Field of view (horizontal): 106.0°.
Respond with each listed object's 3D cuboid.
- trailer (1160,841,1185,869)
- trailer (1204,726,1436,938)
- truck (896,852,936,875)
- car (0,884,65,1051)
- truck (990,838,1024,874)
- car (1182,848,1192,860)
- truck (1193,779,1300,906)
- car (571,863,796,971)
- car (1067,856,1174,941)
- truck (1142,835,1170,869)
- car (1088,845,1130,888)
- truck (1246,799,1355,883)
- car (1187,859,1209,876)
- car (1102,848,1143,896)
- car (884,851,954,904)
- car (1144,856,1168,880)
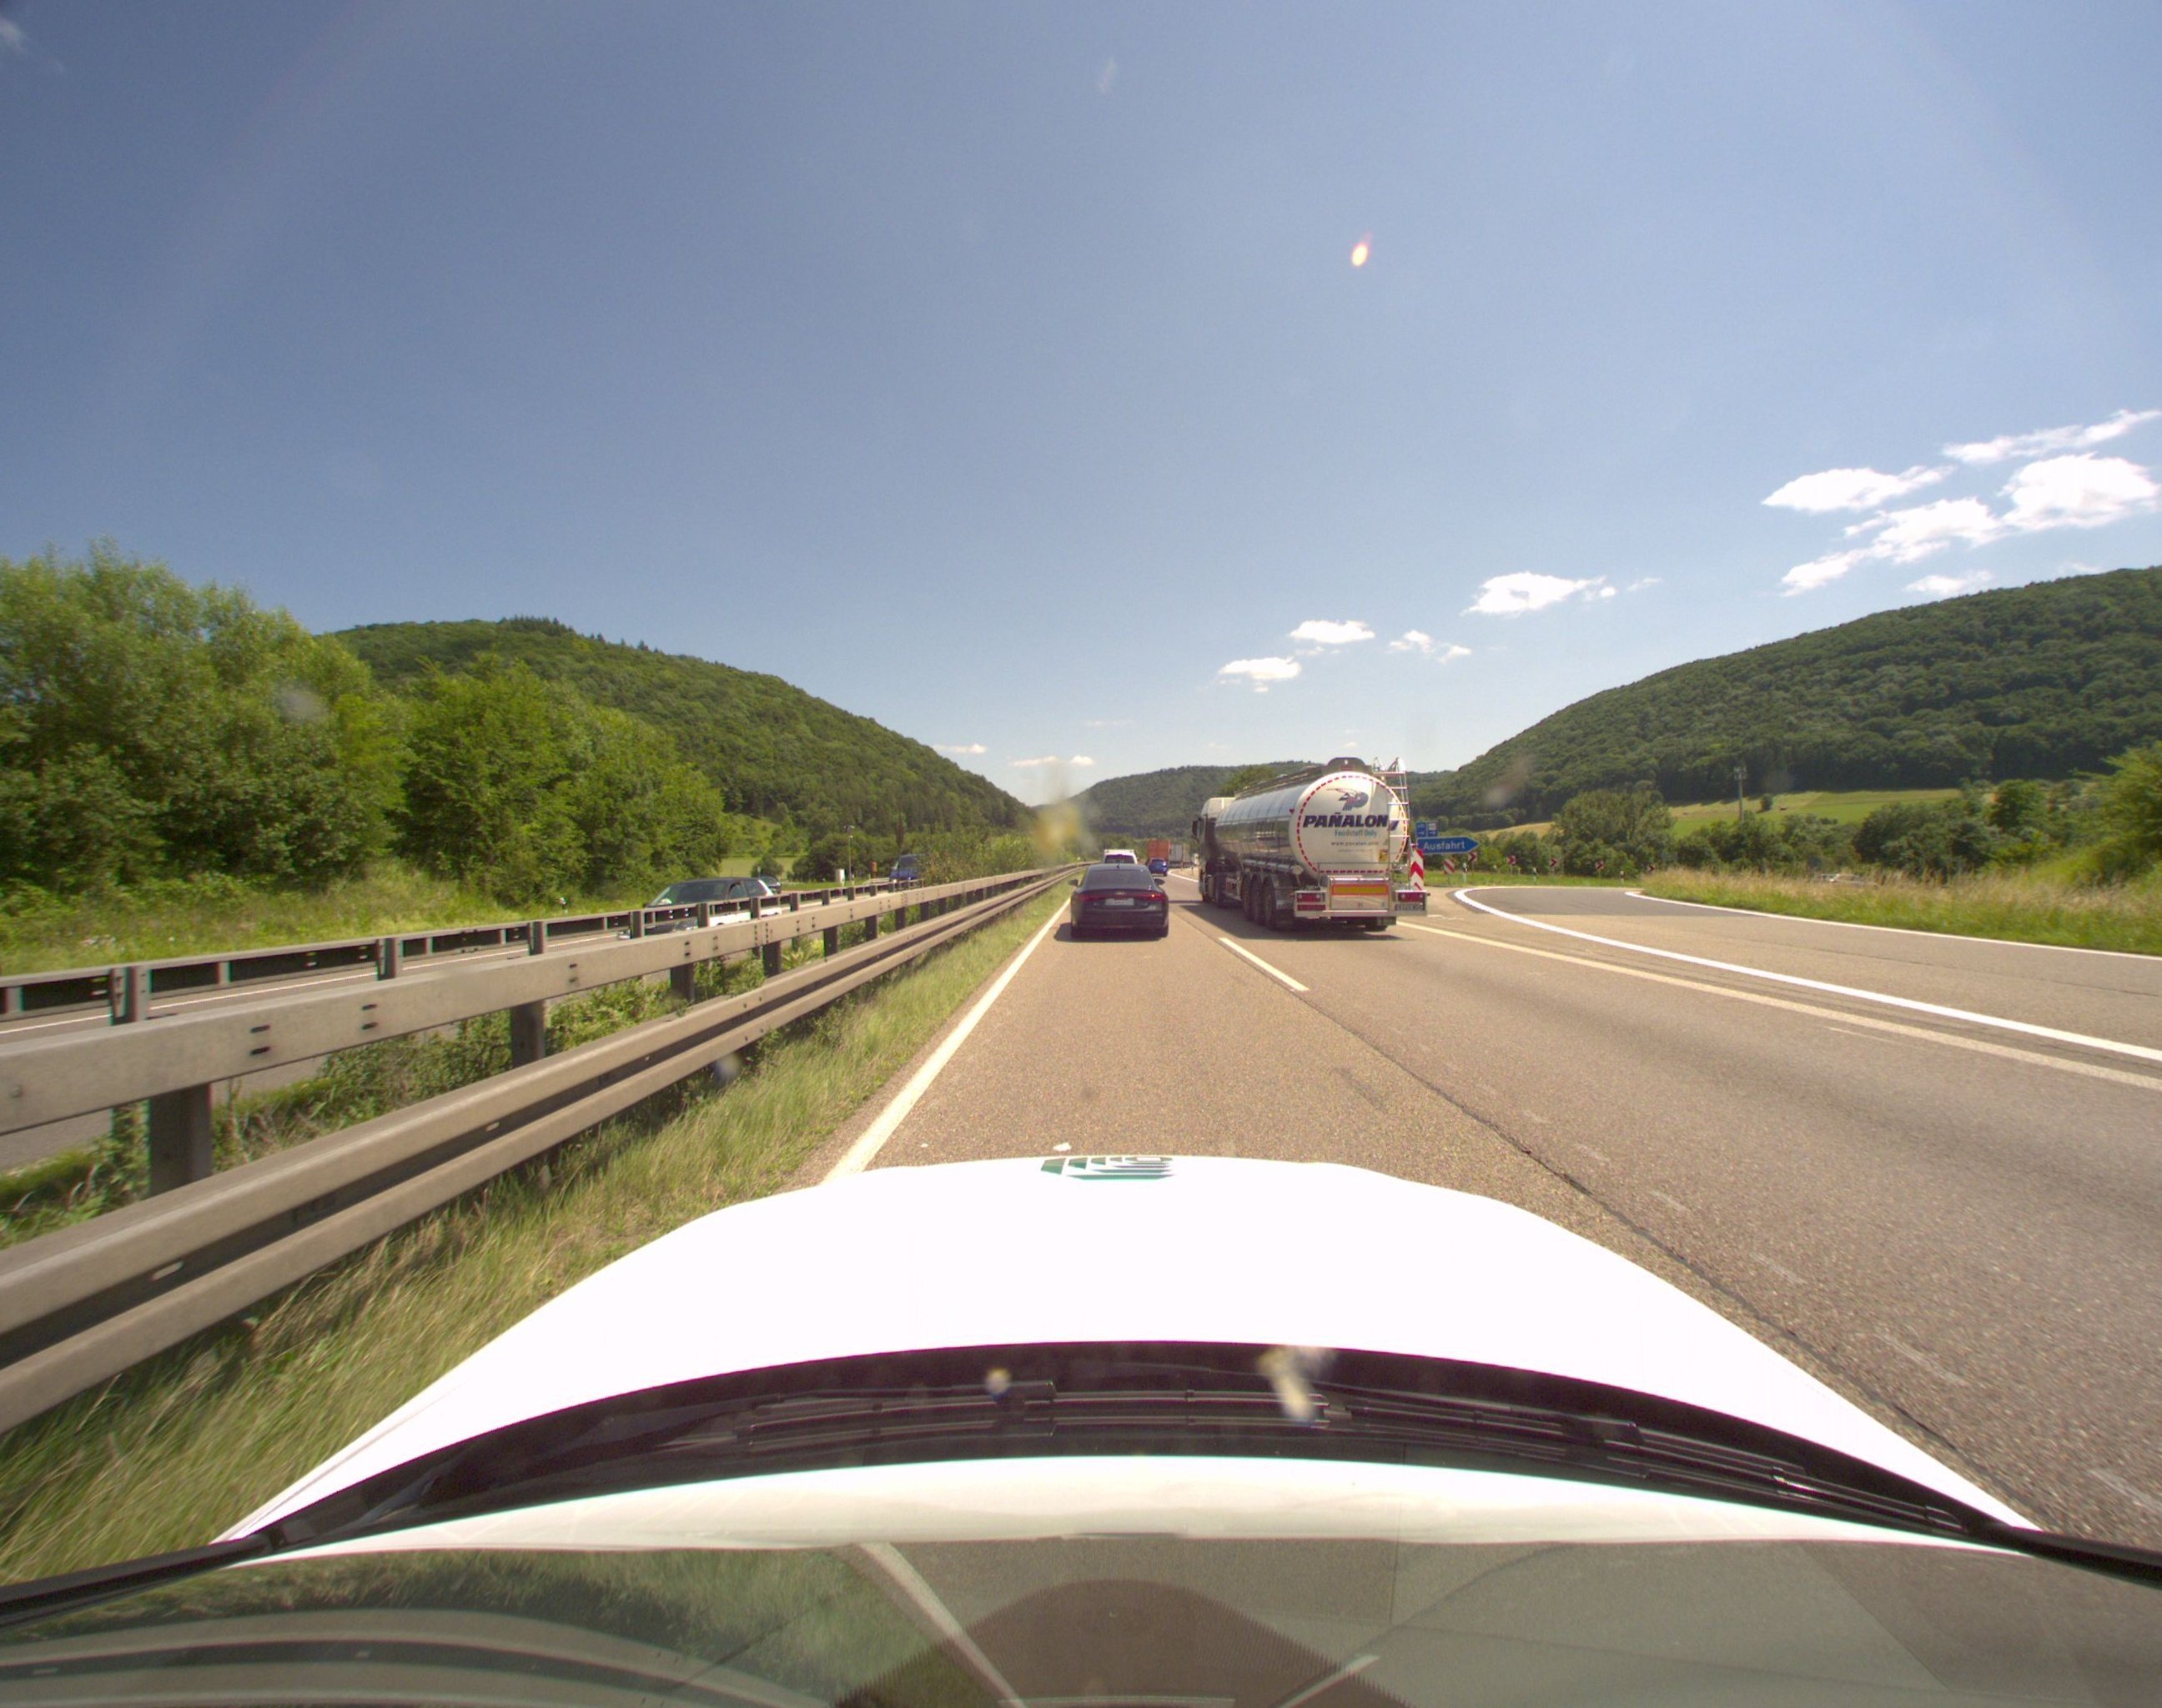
[{"bbox_3d":[14.901,0.198,133.524,3.004,4.382,10.988,-2,0,1],"label":"trailer"},{"bbox_3d":[5.183,-0.368,20.571,2.529,3.735,11.894,-2,0,1],"label":"trailer"},{"bbox_3d":[-21.536,1.208,106.846,3.570,2.695,8.445,-2,-1,-1],"label":"truck"},{"bbox_3d":[-11.645,1.183,6.203,1.915,1.621,4.563,-5,-1,2],"label":"car"},{"bbox_3d":[-8.492,0.247,95.021,2.416,3.899,12.285,-2,0,1],"label":"truck"},{"bbox_3d":[27.938,0.044,214.666,1.986,2.935,4.901,-2,0,2],"label":"car"},{"bbox_3d":[5.329,-0.333,27.126,2.502,3.758,5.246,-2,0,1],"label":"truck"},{"bbox_3d":[-7.282,1.061,15.515,1.986,1.614,4.275,-4,-1,2],"label":"car"},{"bbox_3d":[0.682,0.817,16.739,1.844,1.488,4.080,-2,0,-2],"label":"car"},{"bbox_3d":[9.555,-0.159,105.035,2.806,4.003,14.964,-2,0,3],"label":"truck"},{"bbox_3d":[1.442,0.618,41.681,1.986,2.013,4.001,-2,0,2],"label":"car"},{"bbox_3d":[12.116,-0.596,46.764,2.806,4.003,14.964,-2,0,3],"label":"truck"},{"bbox_3d":[10.976,1.274,76.715,1.740,1.530,4.004,-2,-1,3],"label":"car"},{"bbox_3d":[1.680,0.724,34.061,1.570,1.833,4.001,-2,0,2],"label":"car"},{"bbox_3d":[-6.783,0.938,34.644,1.987,2.070,4.837,-2,0,0],"label":"car"},{"bbox_3d":[6.921,1.267,75.181,1.985,2.002,4.003,-2,0,3],"label":"car"}]
